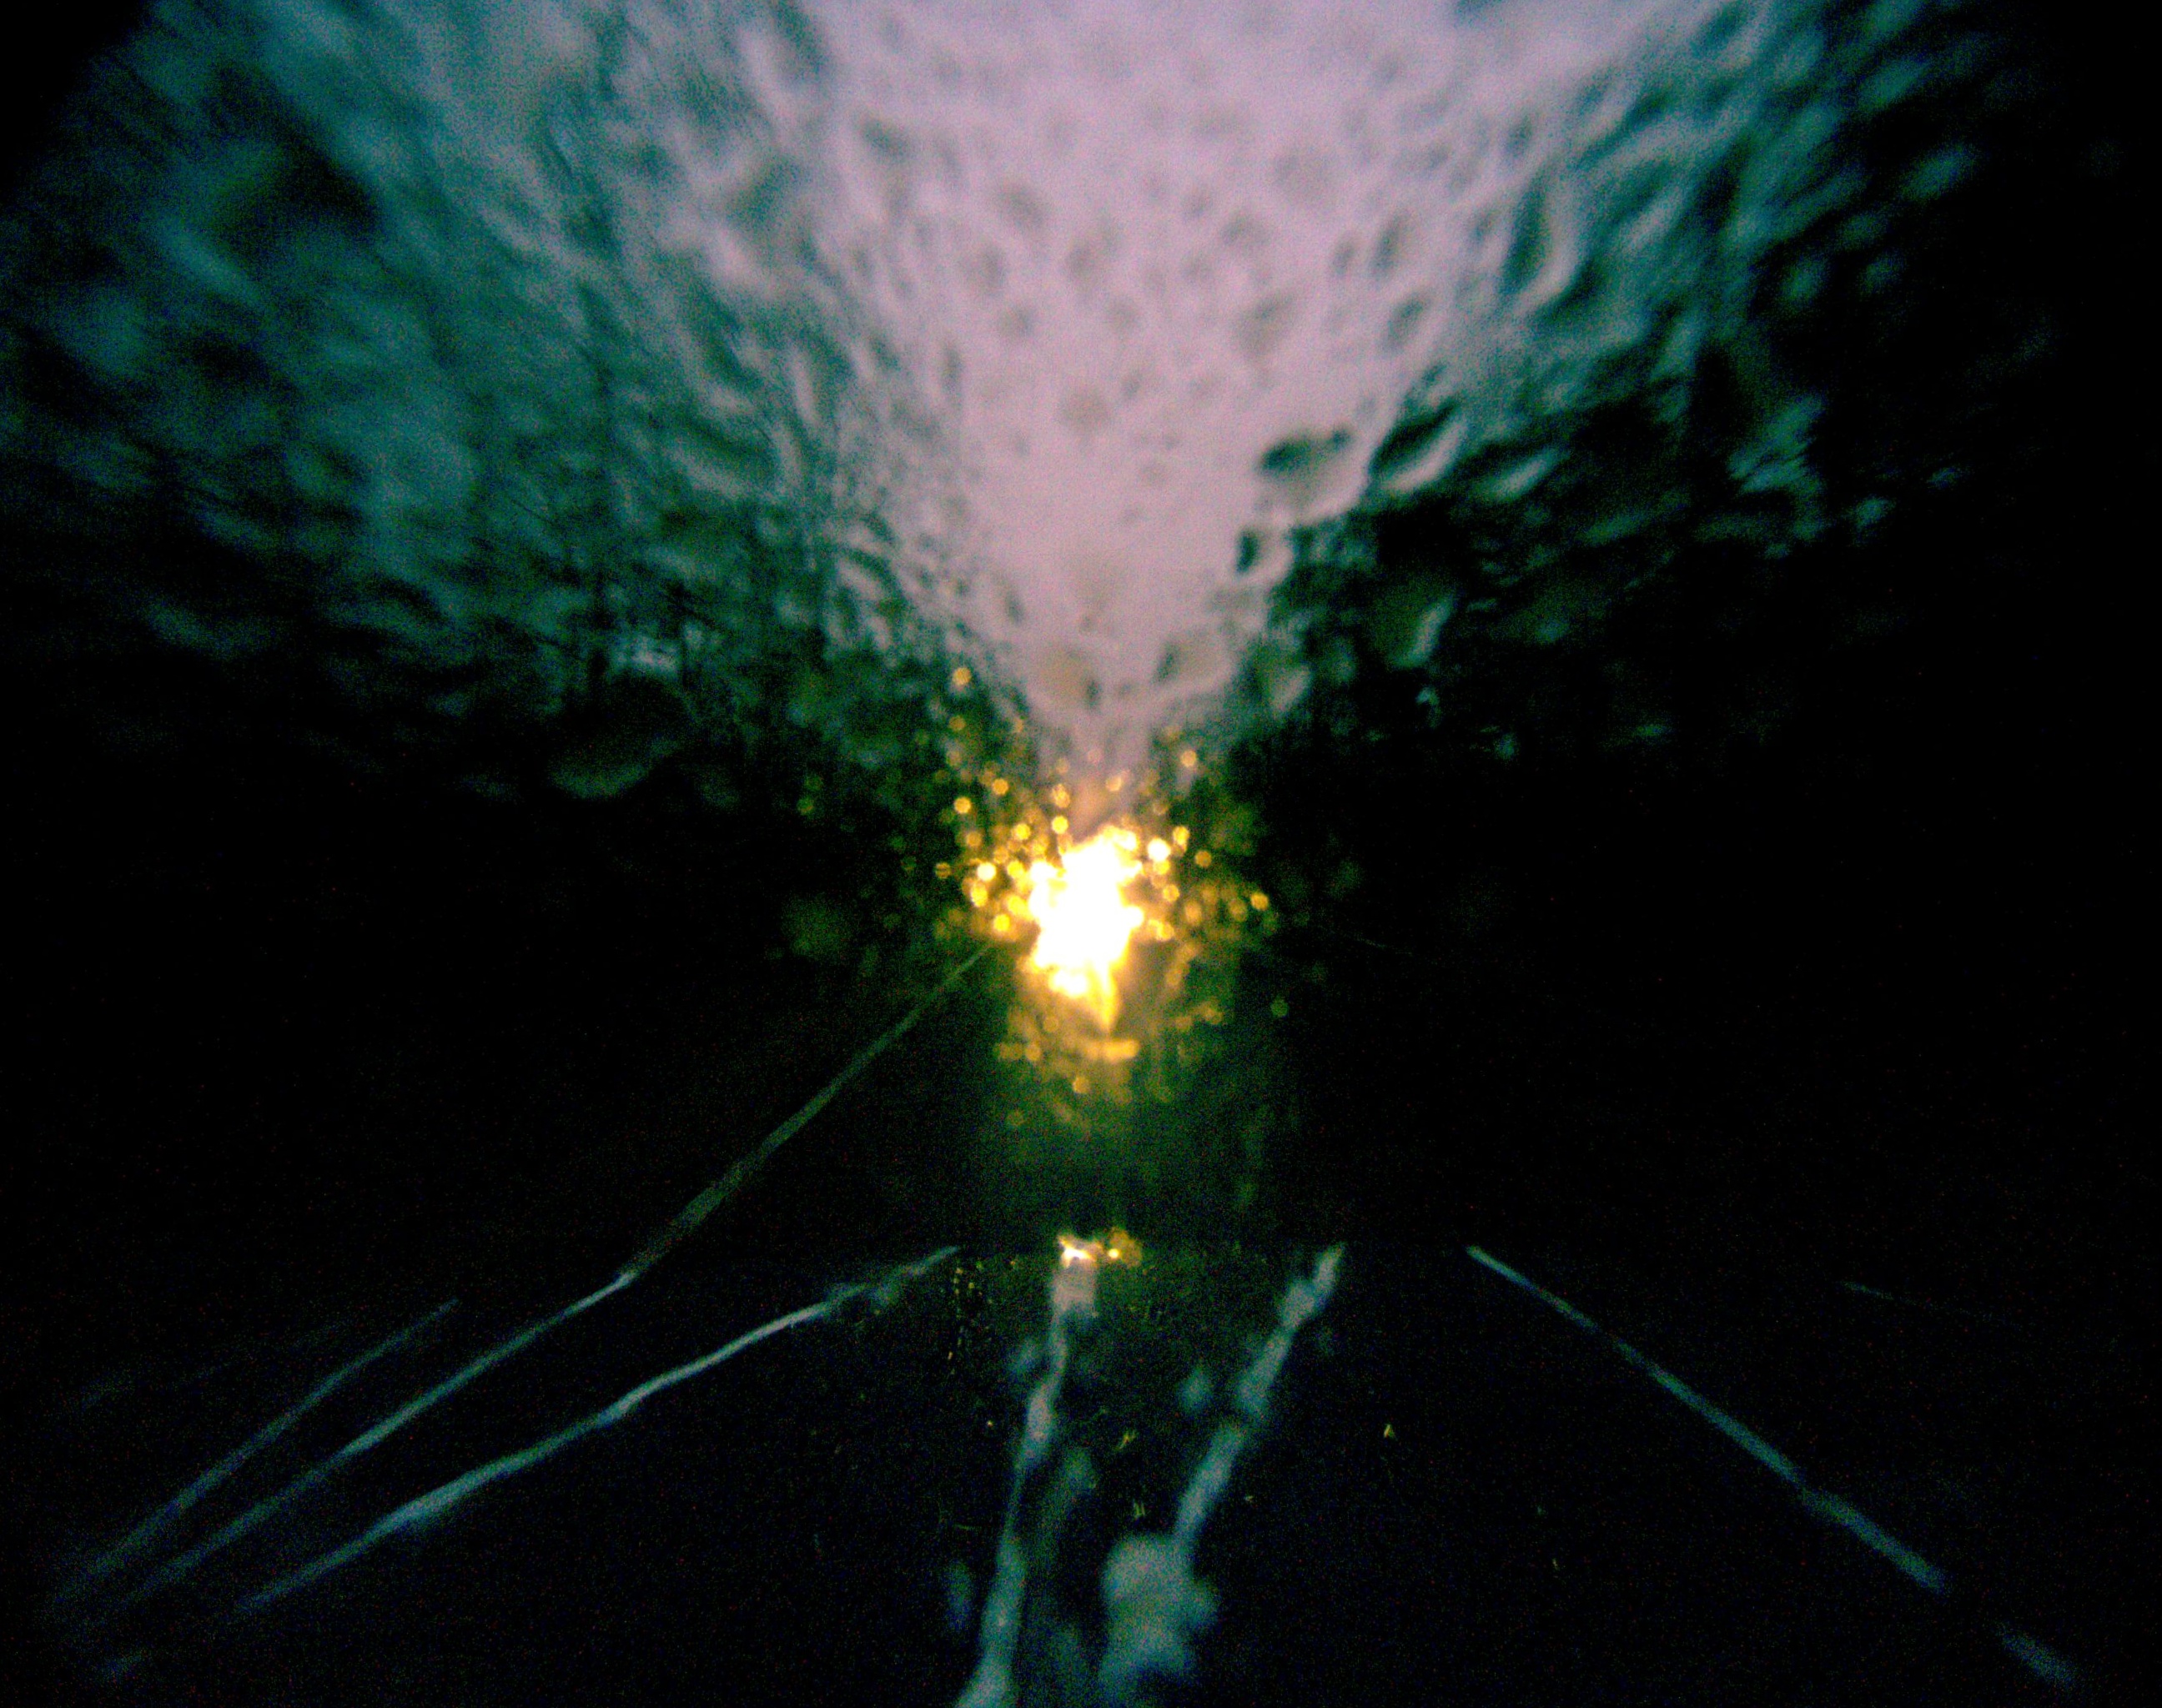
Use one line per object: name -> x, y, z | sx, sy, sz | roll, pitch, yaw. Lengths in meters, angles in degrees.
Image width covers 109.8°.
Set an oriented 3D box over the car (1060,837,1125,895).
car -> 0.524, 0.440, 33.292 | 2.542, 2.213, 6.169 | -2, 1, 1
